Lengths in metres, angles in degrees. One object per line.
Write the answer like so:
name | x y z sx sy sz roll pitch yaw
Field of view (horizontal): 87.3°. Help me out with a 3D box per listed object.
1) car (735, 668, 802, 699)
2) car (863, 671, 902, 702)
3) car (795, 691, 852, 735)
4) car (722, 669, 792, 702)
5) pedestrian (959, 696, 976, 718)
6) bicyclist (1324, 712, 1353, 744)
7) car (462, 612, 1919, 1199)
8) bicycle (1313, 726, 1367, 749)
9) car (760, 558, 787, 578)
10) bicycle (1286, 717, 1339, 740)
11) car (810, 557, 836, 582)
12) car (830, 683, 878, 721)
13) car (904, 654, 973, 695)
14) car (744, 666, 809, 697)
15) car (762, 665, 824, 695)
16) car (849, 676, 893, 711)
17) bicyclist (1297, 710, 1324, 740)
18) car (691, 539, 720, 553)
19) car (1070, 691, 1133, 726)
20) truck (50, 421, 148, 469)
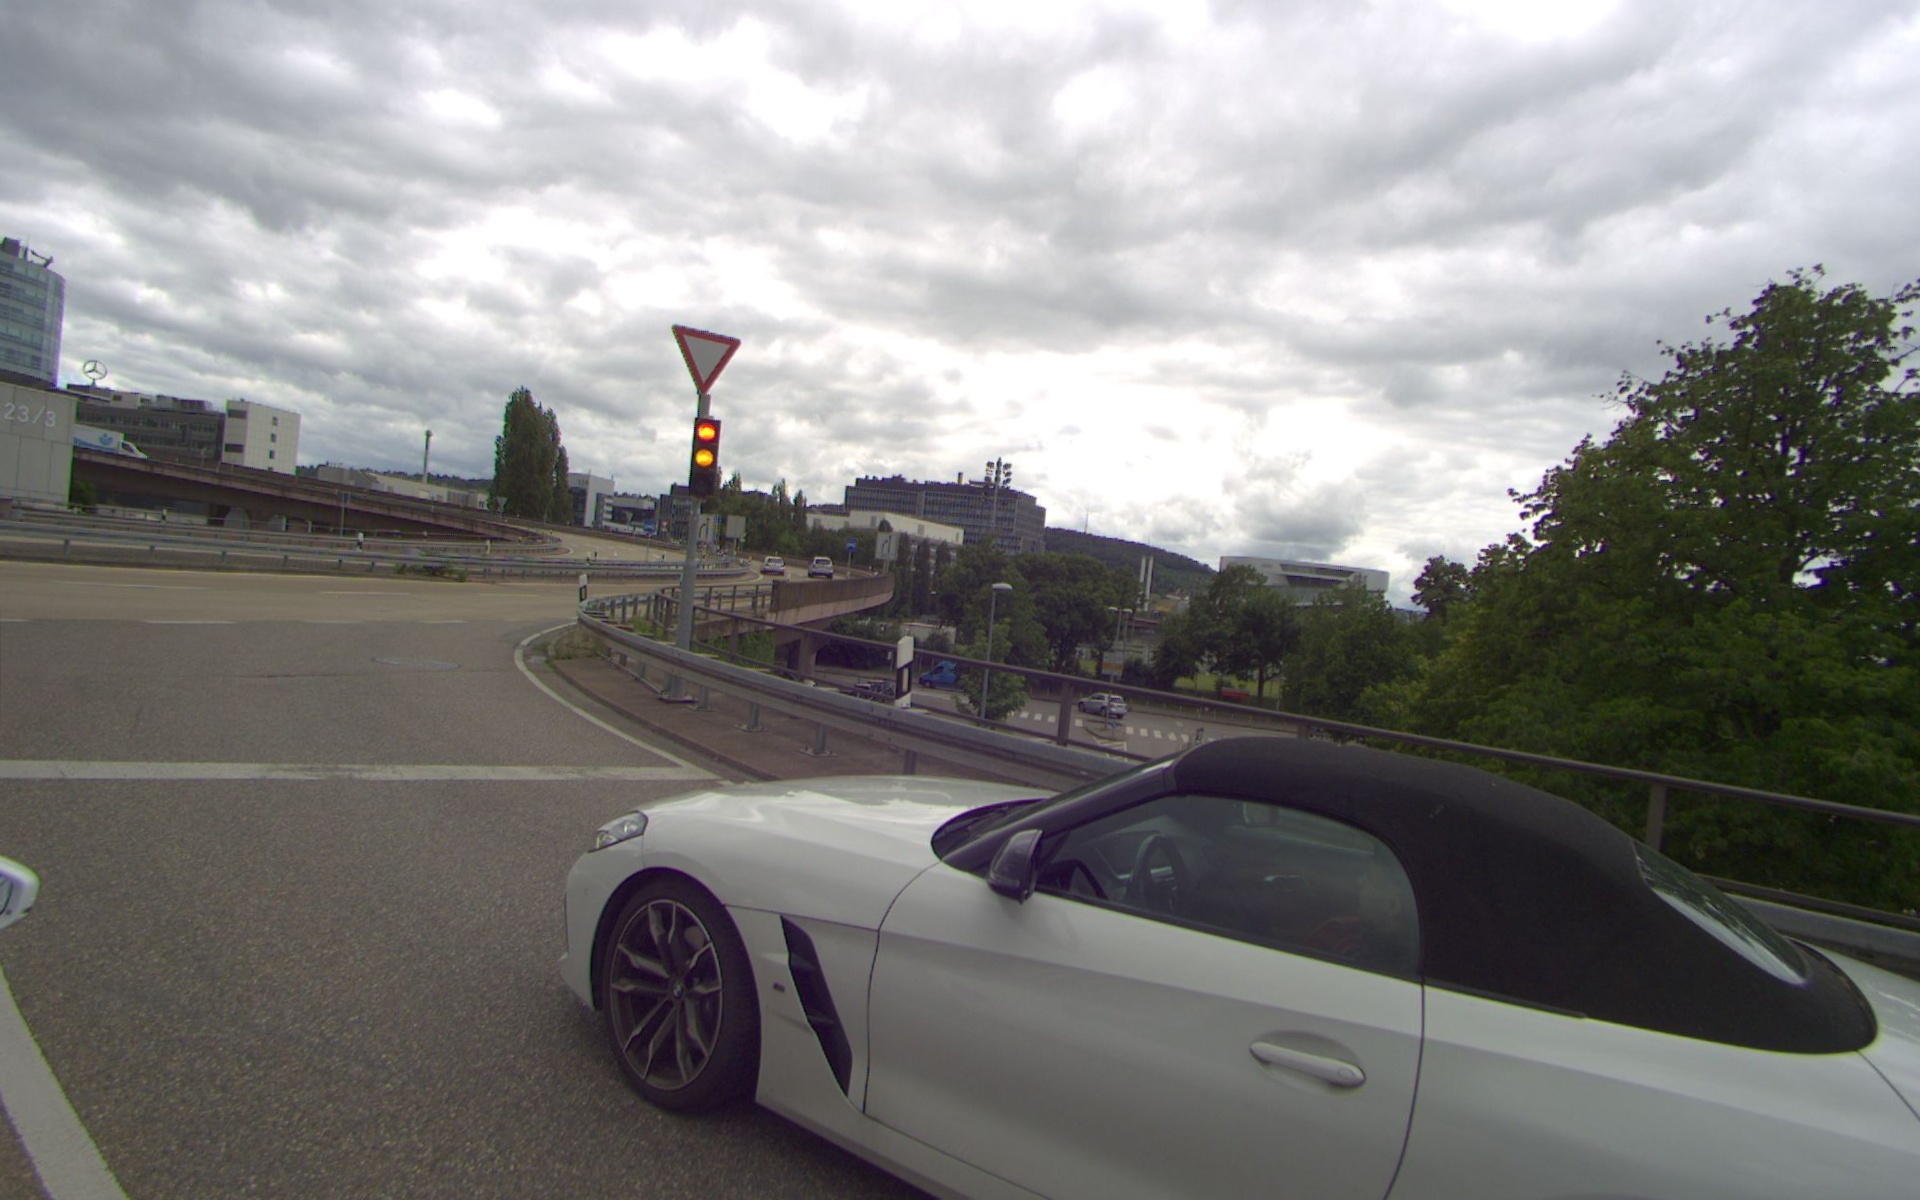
car | -12.182 5.315 64.222 3.792 1.371 1.826 8 1 1
car | -5.272 5.859 68.623 1.792 1.553 4.000 8 0 6
car | -6.852 5.682 51.001 1.792 1.553 4.000 8 0 6
car | -12.460 5.268 61.882 3.792 1.371 1.826 8 1 1
pedestrian | 0.541 7.889 74.130 0.898 1.514 0.750 8 -3 15
bicyclist | 29.864 10.065 79.317 1.553 2.273 1.092 10 -5 -2
car | 0.621 0.990 3.006 4.194 1.306 1.808 7 -2 33
bicycle | 29.914 10.820 79.275 3.785 1.189 1.093 10 -5 -2
car | -15.311 -2.620 82.478 1.703 1.417 4.053 7 0 -15
bicycle | 28.291 10.298 80.806 3.783 1.189 1.093 10 -5 0
car | -11.134 -2.465 81.683 1.701 1.758 4.547 7 0 -10
car | -6.052 5.797 57.755 1.792 1.553 4.000 8 0 6
car | -1.842 6.498 87.778 5.289 2.617 2.019 10 -1 15
car | -12.066 5.373 66.341 3.792 1.371 1.826 8 1 1
car | -11.467 5.489 69.121 3.792 1.371 1.826 8 1 1
car | -5.523 5.834 63.070 1.792 1.553 4.195 8 0 6
bicyclist | 28.166 10.041 80.845 1.538 2.114 1.093 9 -5 1
car | -29.904 -6.355 118.059 1.714 1.480 4.202 5 0 -37
car | 11.335 8.697 80.824 2.001 1.883 4.811 11 -2 -36
truck | -89.841 -16.120 105.183 7.286 3.307 2.308 9 -2 -35
